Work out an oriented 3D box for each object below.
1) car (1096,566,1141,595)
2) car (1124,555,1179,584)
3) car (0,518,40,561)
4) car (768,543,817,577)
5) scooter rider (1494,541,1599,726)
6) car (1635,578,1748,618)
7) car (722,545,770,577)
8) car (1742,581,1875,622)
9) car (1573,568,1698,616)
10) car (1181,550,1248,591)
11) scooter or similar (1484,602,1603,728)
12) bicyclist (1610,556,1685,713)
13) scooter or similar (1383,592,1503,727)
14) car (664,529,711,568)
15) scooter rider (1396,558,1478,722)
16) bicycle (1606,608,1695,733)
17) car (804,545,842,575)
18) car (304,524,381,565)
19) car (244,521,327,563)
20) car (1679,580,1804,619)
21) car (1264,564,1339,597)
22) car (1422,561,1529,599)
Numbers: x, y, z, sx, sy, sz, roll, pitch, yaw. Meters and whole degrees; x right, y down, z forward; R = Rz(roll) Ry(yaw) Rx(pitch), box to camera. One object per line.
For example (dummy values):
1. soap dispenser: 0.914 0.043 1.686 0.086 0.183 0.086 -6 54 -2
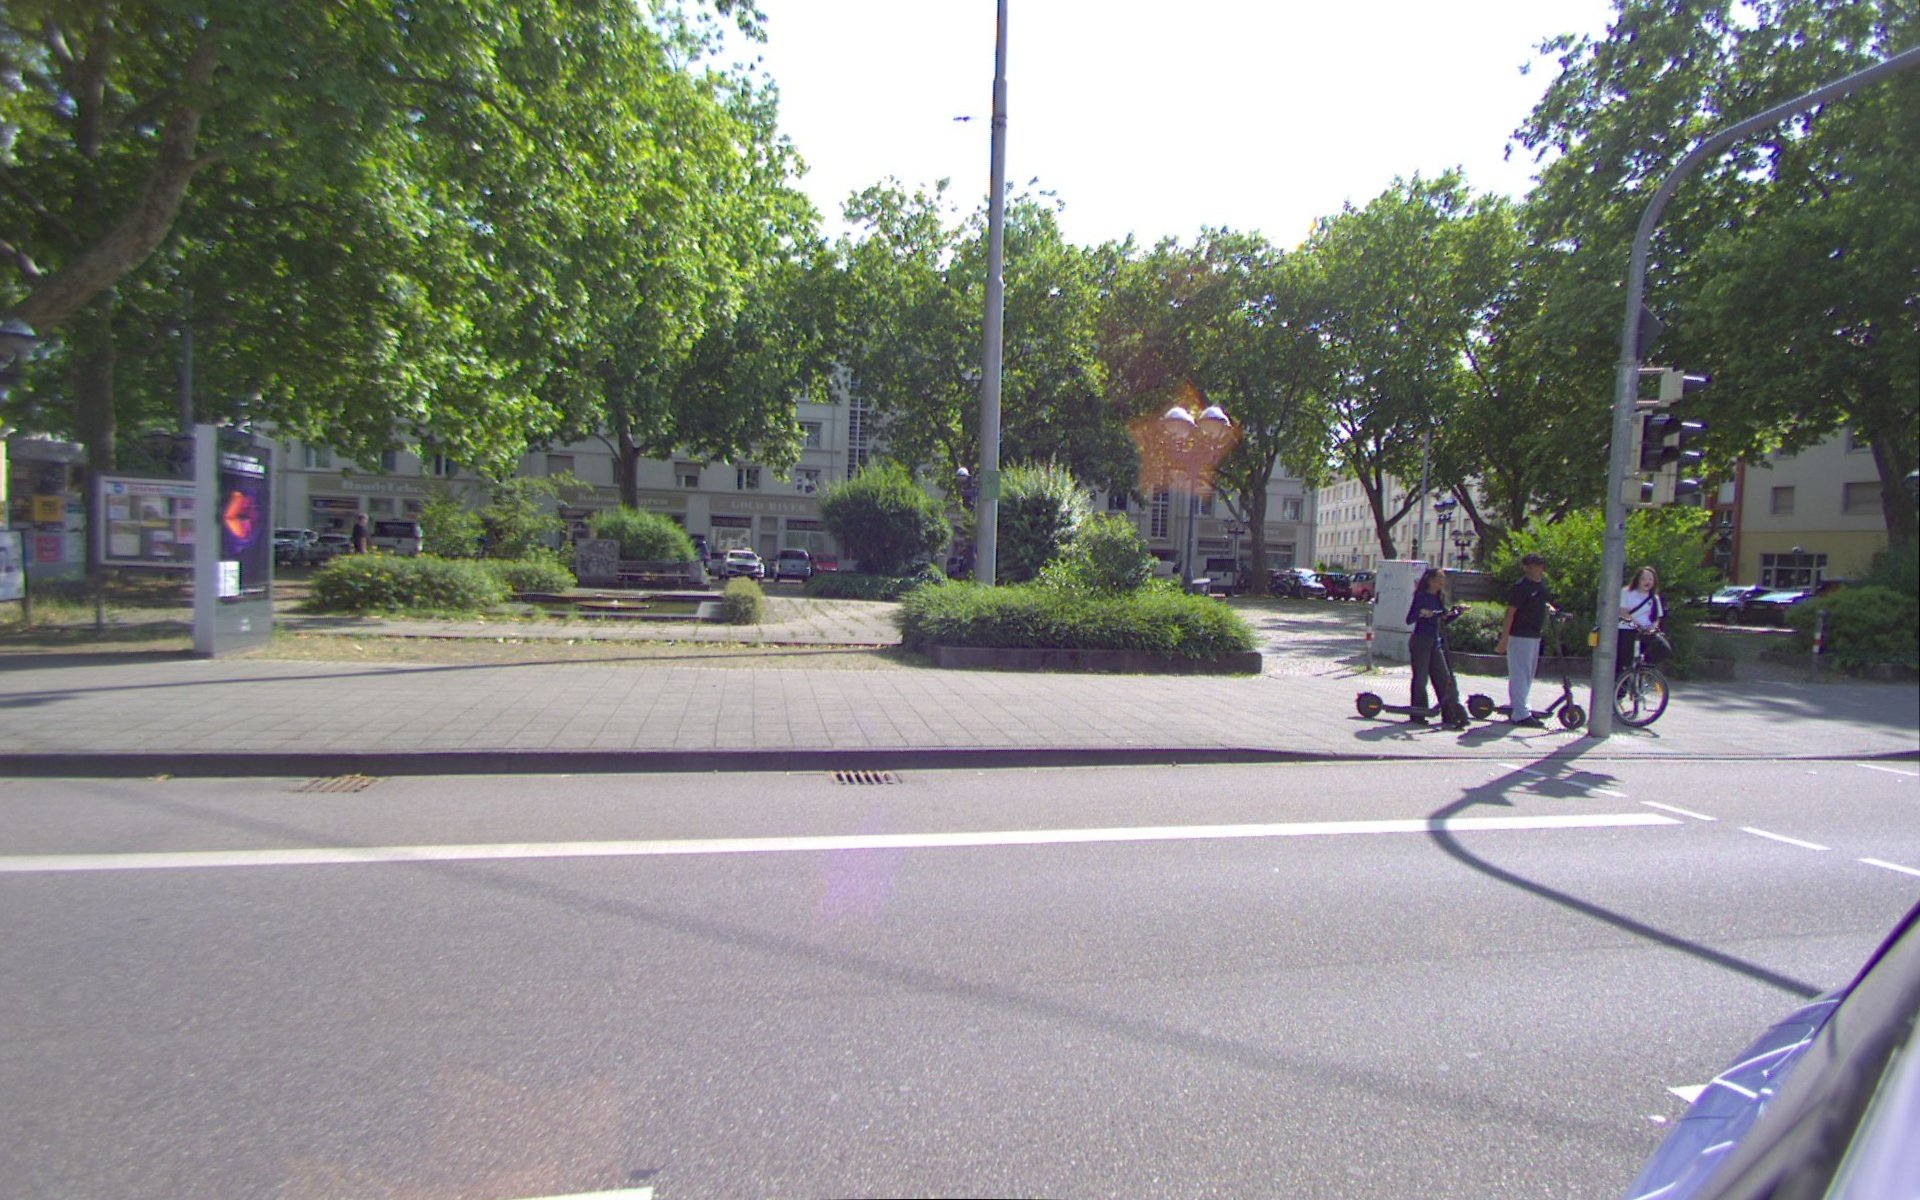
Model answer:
1. car: 10.048 -1.222 64.338 1.894 1.688 3.740 2 0 -5
2. car: 12.292 -2.011 65.196 1.812 1.679 4.094 2 3 -15
3. car: -37.033 -2.367 39.161 1.659 1.519 4.002 0 4 -36
4. car: -8.325 -1.992 50.002 1.829 1.537 3.954 1 3 -17
5. scooter rider: 6.075 0.326 10.519 0.669 1.831 0.543 4 4 13
6. car: 30.765 -0.095 42.570 3.916 1.539 1.667 2 0 -14
7. car: -10.385 -1.907 48.913 1.829 1.370 3.954 1 3 -17
8. car: 31.337 0.038 37.406 3.916 1.381 1.771 2 0 -14
9. car: 29.998 -0.362 44.959 4.584 1.959 2.004 2 0 -14
10. car: 13.467 -1.544 53.867 2.210 2.039 3.938 2 0 -5
11. scooter or similar: 6.053 0.657 10.538 0.864 1.185 0.543 4 4 13
12. bicyclist: 7.745 0.363 11.425 0.502 1.687 0.578 4 5 26
13. scooter or similar: 4.912 0.580 10.328 0.534 1.240 0.877 0 5 -34
14. car: -13.150 -2.500 48.689 1.958 1.704 4.011 1 3 -17
15. scooter rider: 4.883 0.396 10.372 0.534 1.612 0.438 0 5 -35
16. bicycle: 7.590 0.729 11.175 0.502 1.125 1.617 4 5 26
17. car: -8.262 -2.423 60.839 1.813 1.679 4.094 2 3 -14
18. car: -27.800 -2.523 45.690 1.813 1.679 4.094 2 3 -14
19. car: -29.958 -2.583 45.085 1.813 1.679 4.094 2 3 -14
20. car: 30.734 -0.016 39.832 3.916 1.381 1.771 2 0 -14
21. car: 18.360 -1.076 54.635 1.812 1.551 4.094 2 3 -15
22. car: 28.088 -1.064 55.168 5.142 1.896 2.004 2 0 -15
